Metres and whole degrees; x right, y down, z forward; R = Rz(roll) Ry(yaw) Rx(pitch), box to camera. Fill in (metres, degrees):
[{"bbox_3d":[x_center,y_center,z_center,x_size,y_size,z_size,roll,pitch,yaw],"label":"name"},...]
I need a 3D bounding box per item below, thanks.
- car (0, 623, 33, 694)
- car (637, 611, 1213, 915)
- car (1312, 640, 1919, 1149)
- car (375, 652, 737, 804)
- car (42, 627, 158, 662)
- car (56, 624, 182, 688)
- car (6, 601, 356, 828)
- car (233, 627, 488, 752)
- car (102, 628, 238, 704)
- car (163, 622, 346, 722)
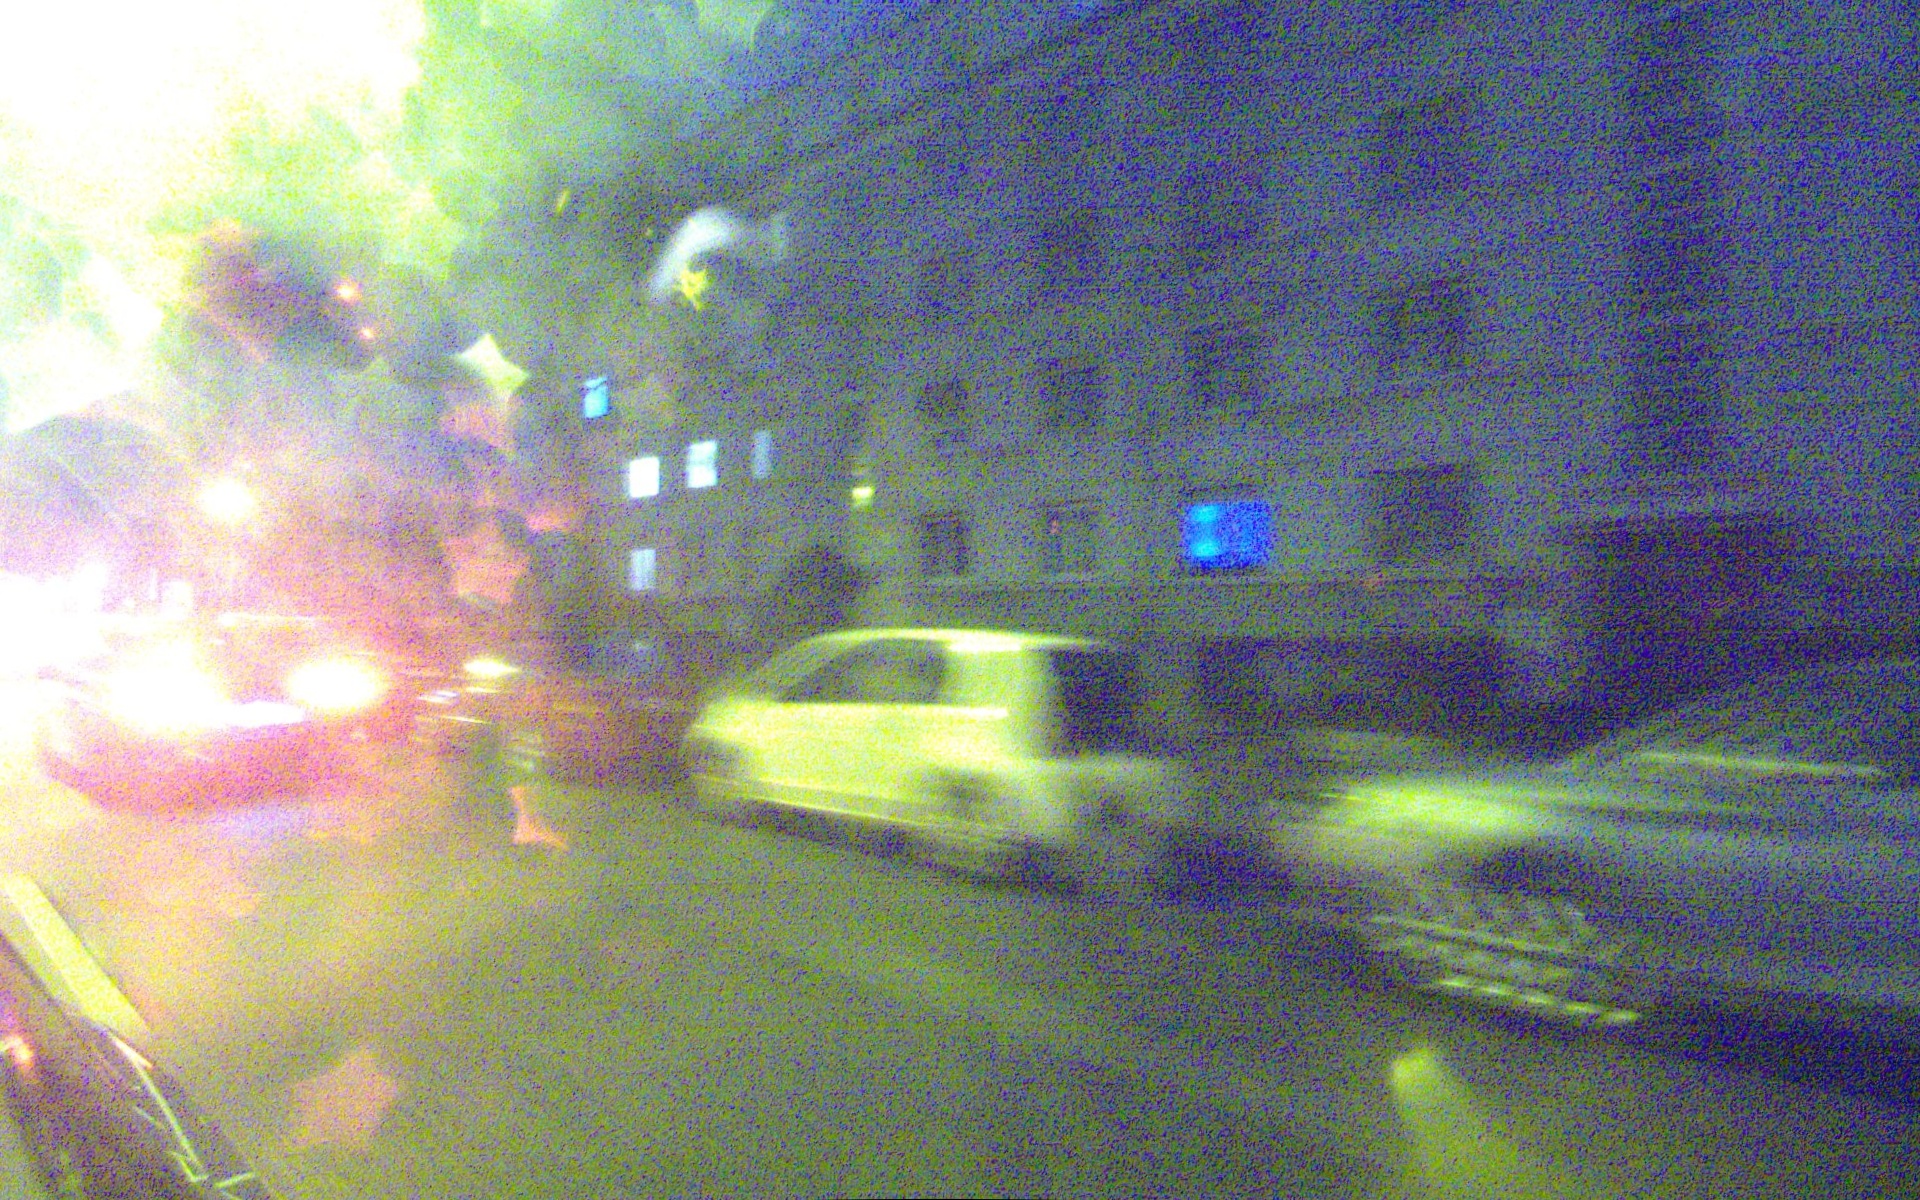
[{"bbox_3d":[-23.362,1.362,23.713,4.682,1.560,2.017,-2,-3,43],"label":"car"},{"bbox_3d":[-0.444,0.958,7.200,4.058,1.551,1.688,-2,-6,42],"label":"car"},{"bbox_3d":[3.678,0.859,3.091,4.675,1.429,1.602,-2,-5,42],"label":"car"},{"bbox_3d":[-4.515,1.225,10.906,4.638,1.278,1.818,-3,-5,43],"label":"car"},{"bbox_3d":[-45.911,2.412,54.151,4.472,1.719,1.855,3,-5,-35],"label":"car"},{"bbox_3d":[-21.390,1.423,25.681,4.544,1.484,1.607,-2,-5,40],"label":"car"},{"bbox_3d":[-7.119,0.900,9.070,4.369,1.552,1.688,-2,-5,42],"label":"car"},{"bbox_3d":[-8.530,1.190,14.241,4.394,1.484,1.776,-2,-5,41],"label":"car"},{"bbox_3d":[-17.050,1.401,21.781,3.962,1.484,1.606,-2,-5,43],"label":"car"},{"bbox_3d":[-12.539,1.250,17.902,3.960,1.585,1.607,-2,-6,40],"label":"car"}]
